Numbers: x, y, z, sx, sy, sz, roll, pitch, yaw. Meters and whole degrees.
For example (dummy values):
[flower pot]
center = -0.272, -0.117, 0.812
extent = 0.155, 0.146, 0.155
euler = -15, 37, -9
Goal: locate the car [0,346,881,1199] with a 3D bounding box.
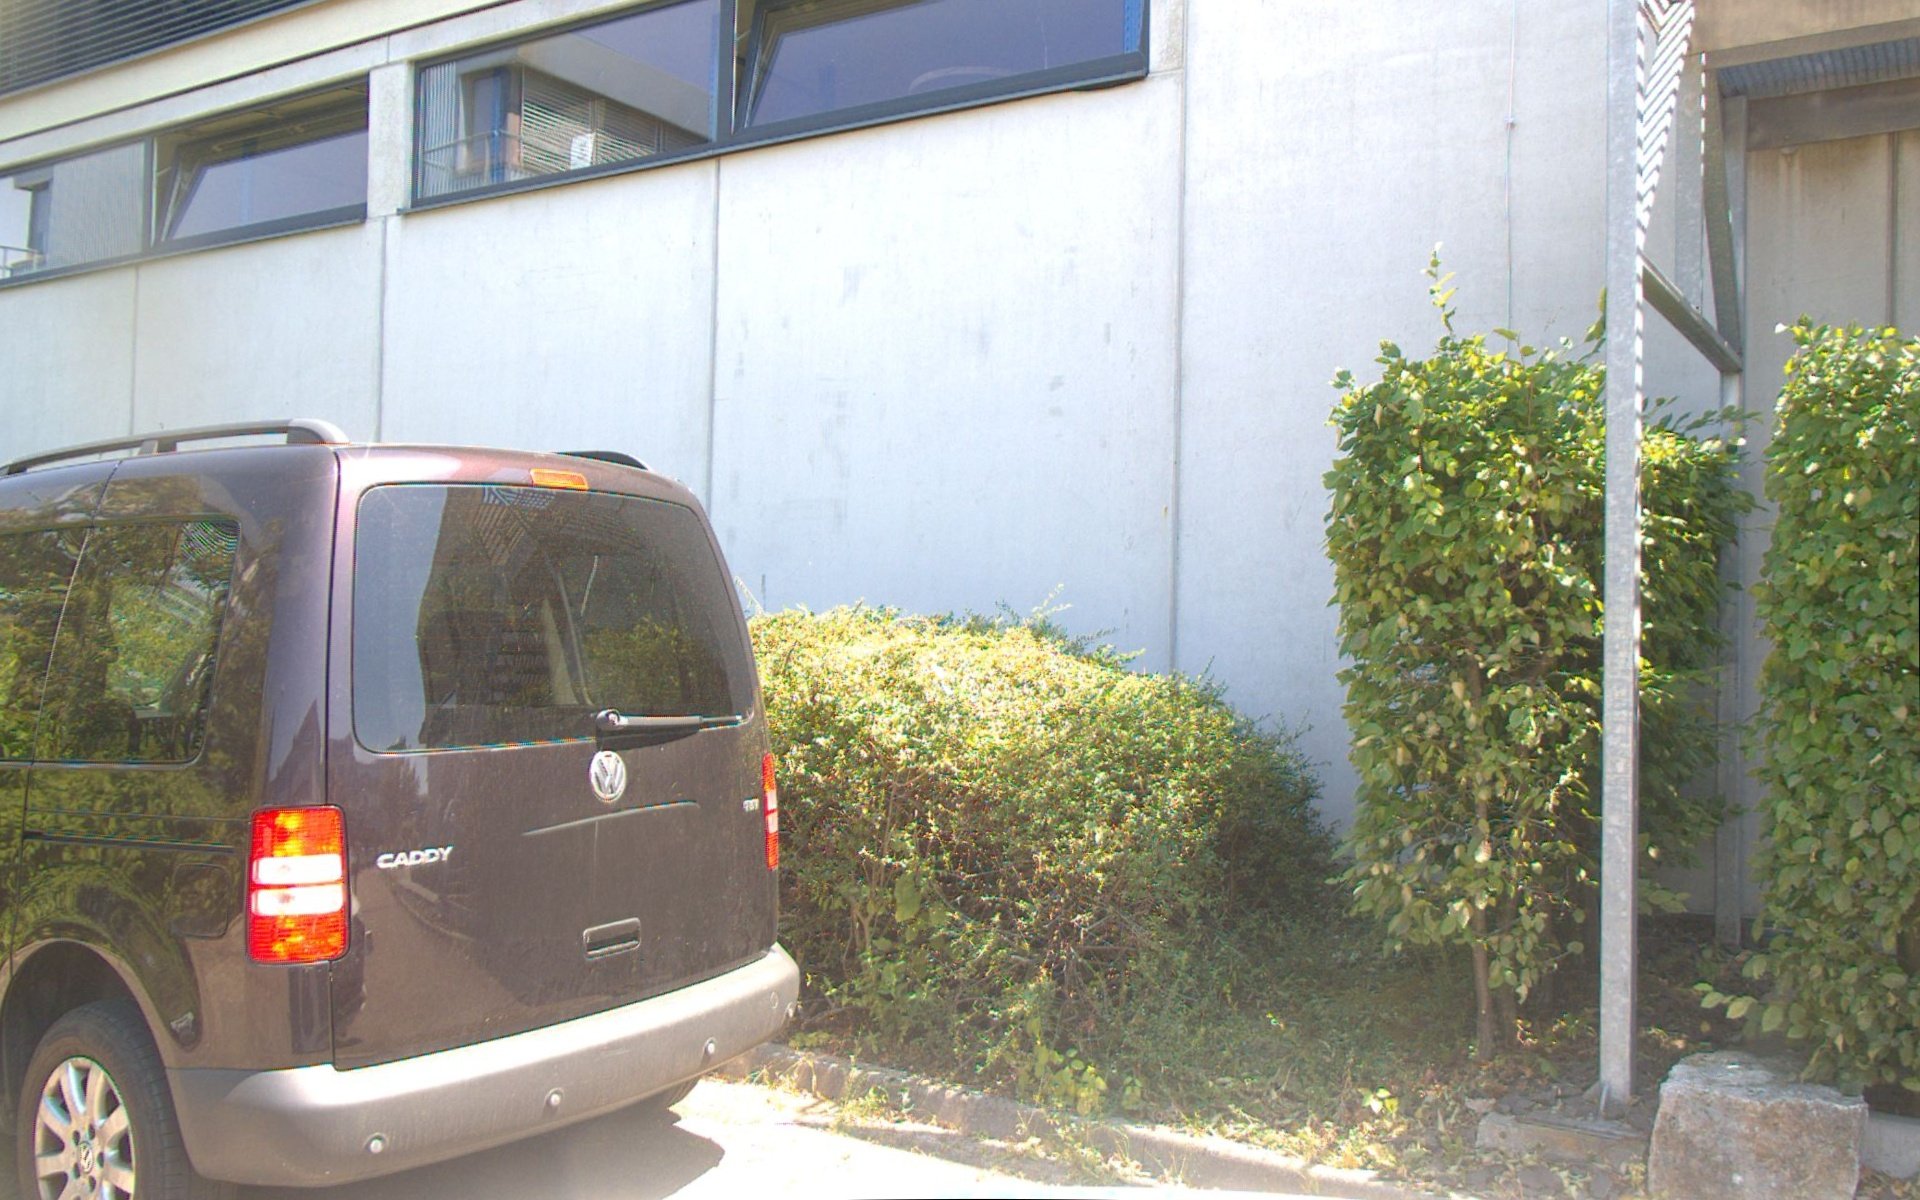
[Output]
[car]
center = -2.326, 0.494, 4.774
extent = 3.987, 1.917, 1.673
euler = 1, 0, 34
